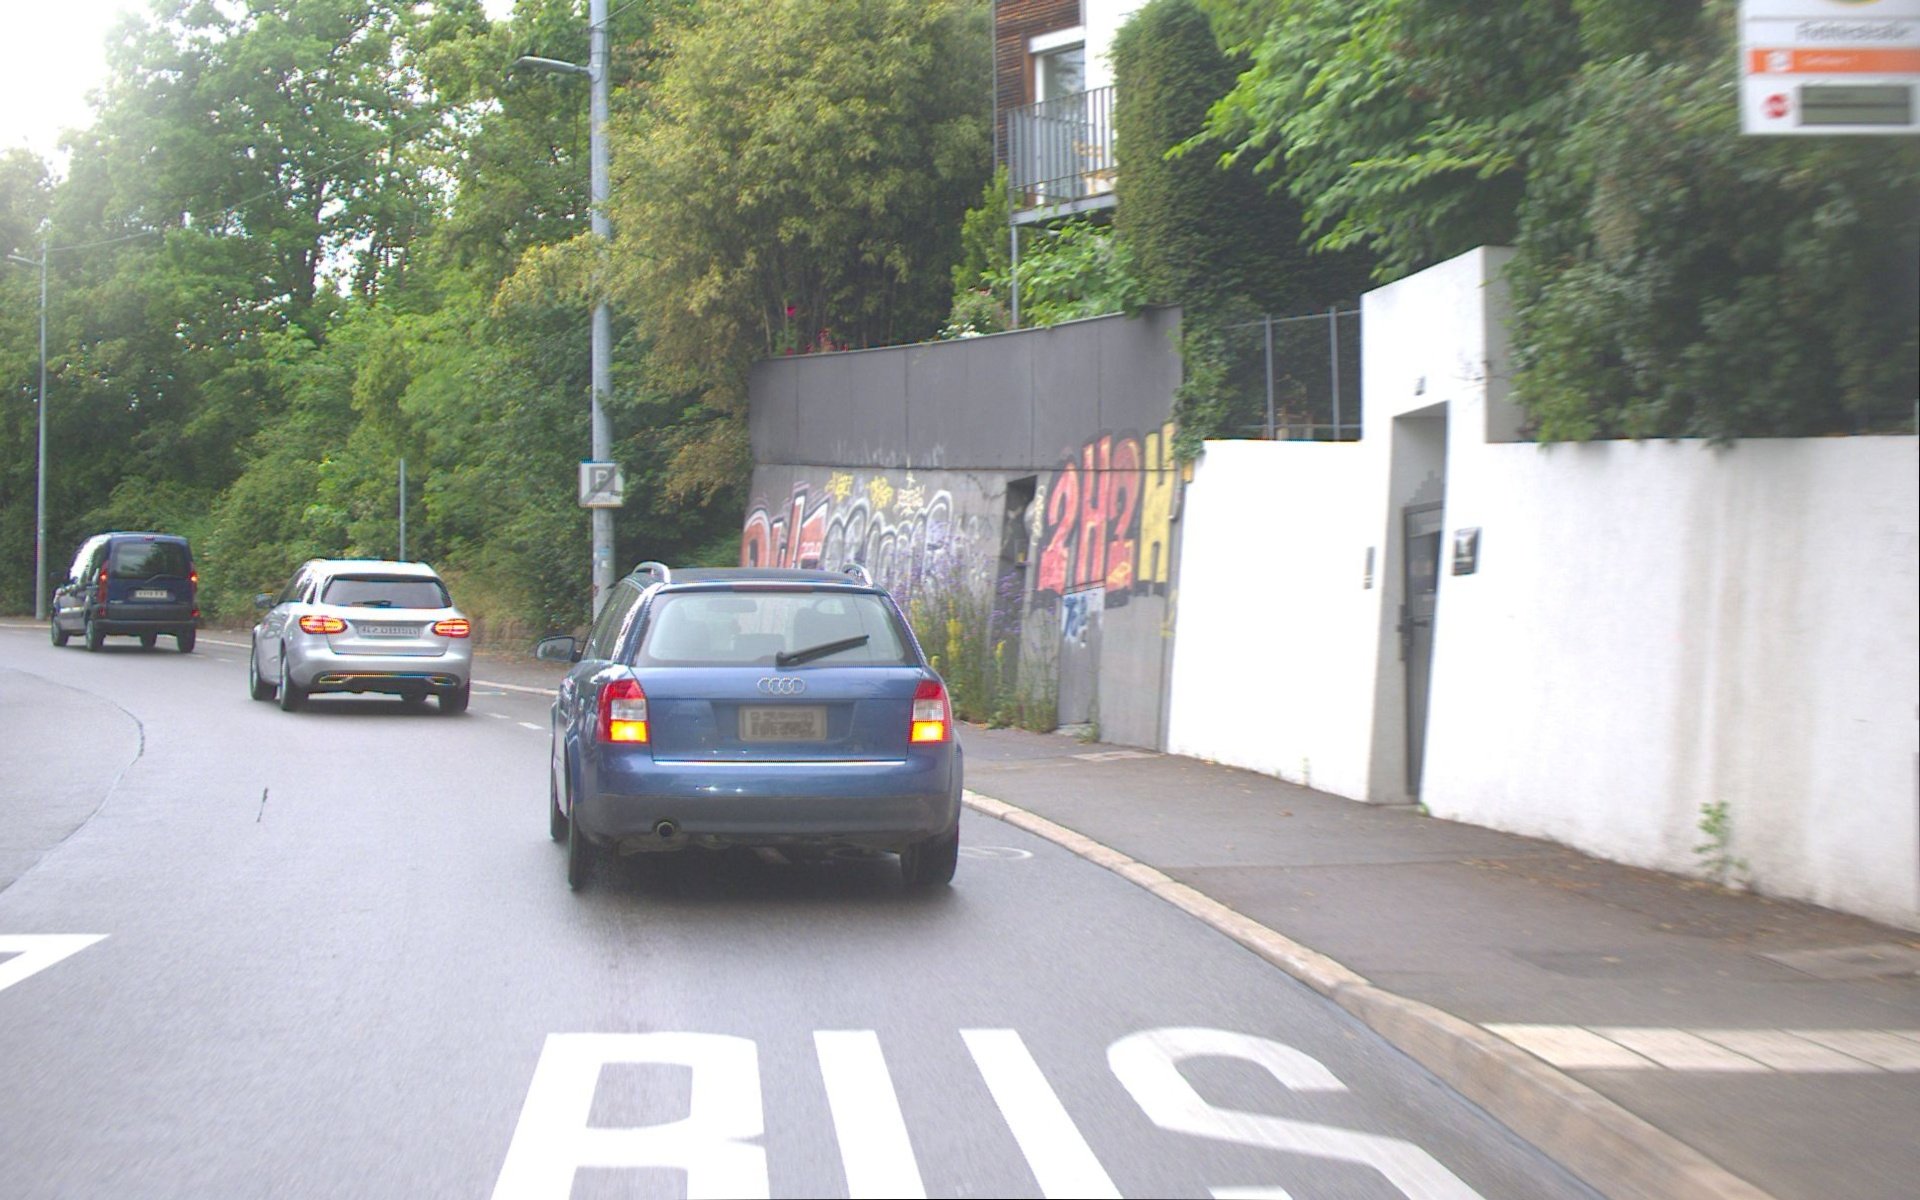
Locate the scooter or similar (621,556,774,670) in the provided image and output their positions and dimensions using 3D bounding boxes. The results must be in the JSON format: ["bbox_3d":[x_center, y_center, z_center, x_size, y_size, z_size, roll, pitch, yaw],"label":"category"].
[{"bbox_3d":[-3.346,0.172,43.772,1.834,1.310,0.600,4,-2,-6],"label":"scooter or similar"}]

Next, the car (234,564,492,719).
[{"bbox_3d":[-5.988,0.369,34.103,1.908,1.384,4.352,2,0,-18],"label":"car"}]

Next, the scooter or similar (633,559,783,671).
[{"bbox_3d":[-3.264,0.202,44.510,1.834,1.310,0.600,4,-2,-6],"label":"scooter or similar"}]

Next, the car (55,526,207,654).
[{"bbox_3d":[-13.094,-0.169,54.159,1.730,1.888,4.056,-2,1,-21],"label":"car"}]

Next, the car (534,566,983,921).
[{"bbox_3d":[-1.079,0.575,16.333,1.777,1.434,4.001,-1,1,-8],"label":"car"}]
